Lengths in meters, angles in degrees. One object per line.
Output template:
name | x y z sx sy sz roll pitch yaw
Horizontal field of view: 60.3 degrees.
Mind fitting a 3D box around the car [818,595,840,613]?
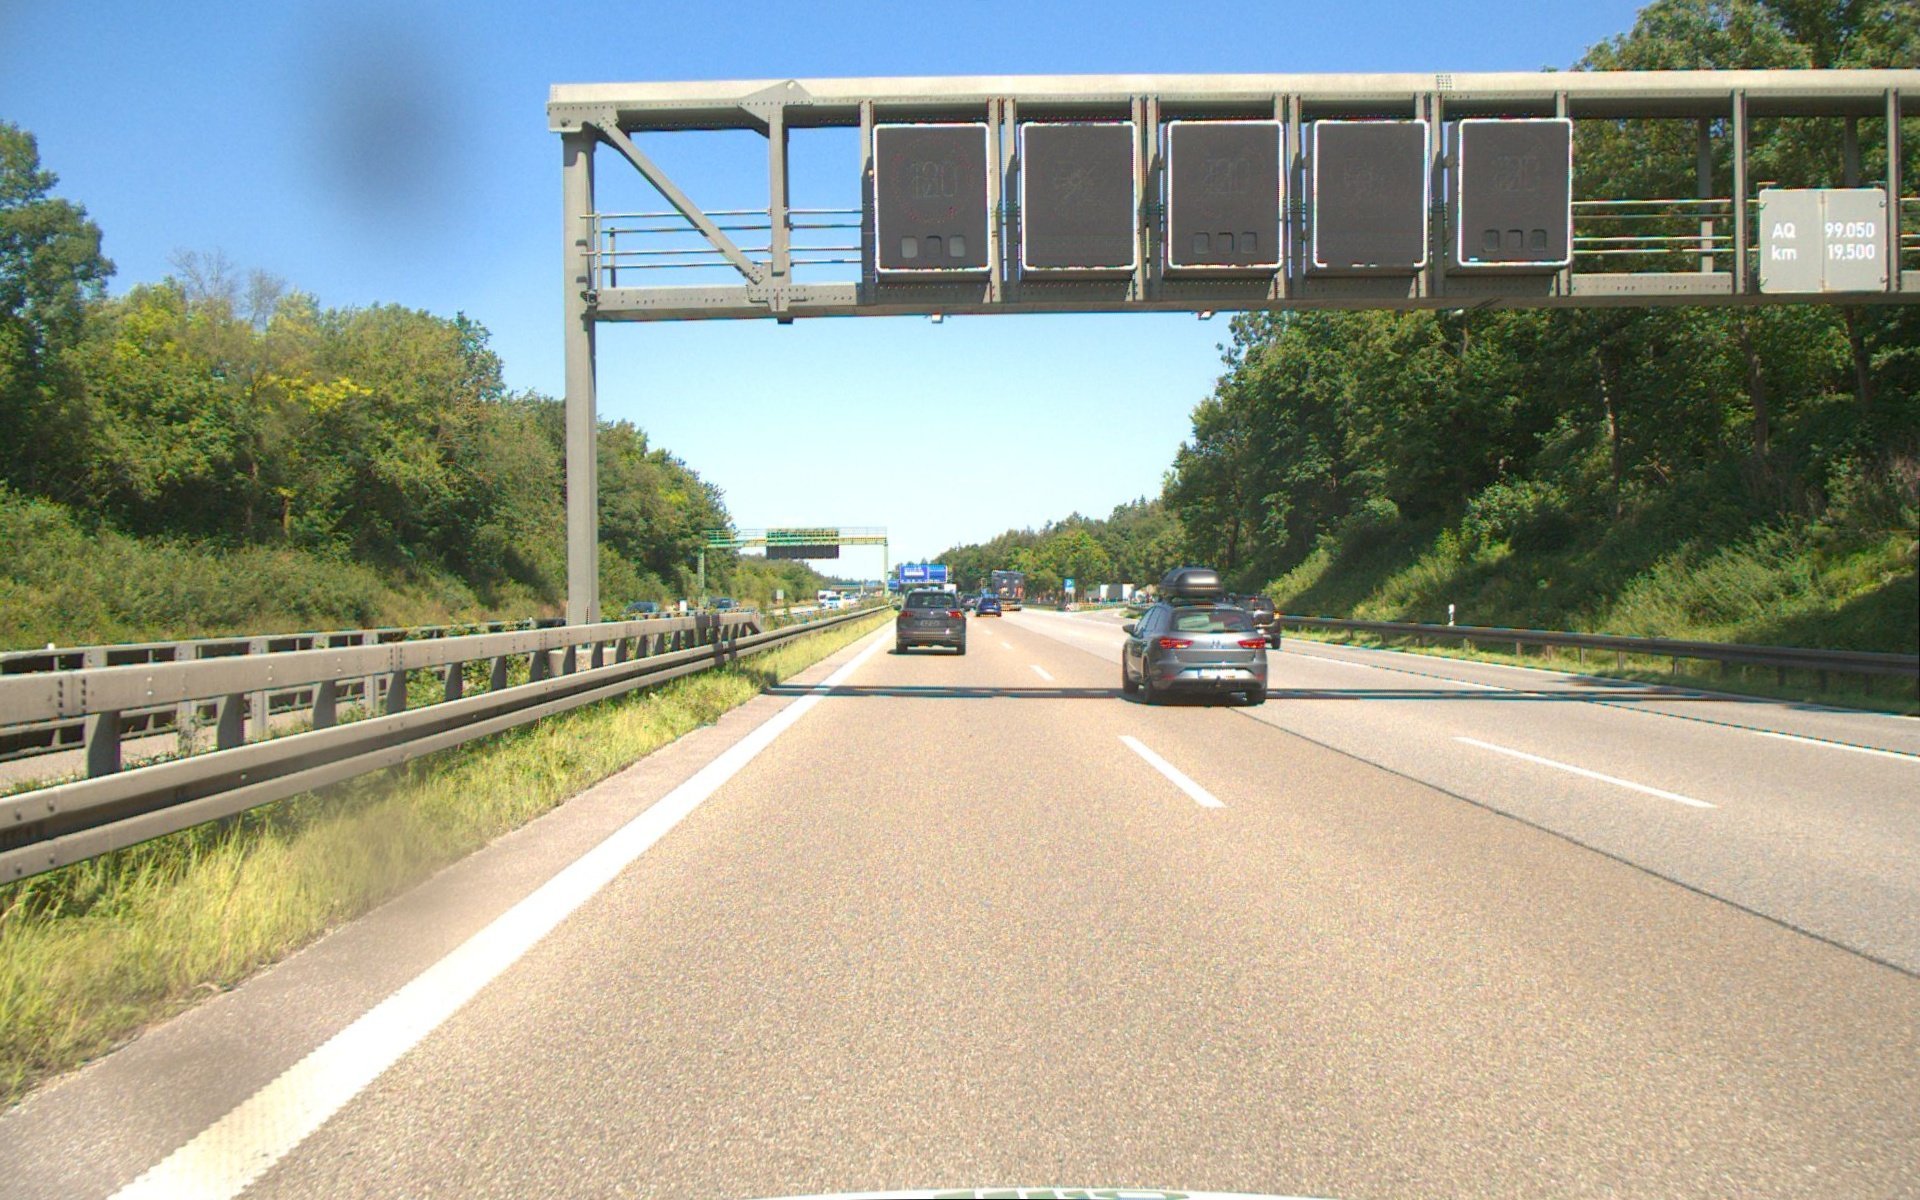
car | -12.633 0.390 159.912 1.775 1.645 3.913 -3 0 0

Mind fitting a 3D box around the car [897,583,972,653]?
car | -0.623 0.427 42.993 1.762 1.698 4.259 1 0 1

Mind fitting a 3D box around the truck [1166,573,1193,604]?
truck | 29.231 -1.543 219.640 3.215 4.016 9.358 -1 0 9

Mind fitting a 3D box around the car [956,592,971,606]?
car | 0.342 -0.095 172.818 1.441 1.422 3.409 2 0 -2

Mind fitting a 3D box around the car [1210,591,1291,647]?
car | 8.724 0.532 49.974 1.728 1.595 4.259 1 0 1

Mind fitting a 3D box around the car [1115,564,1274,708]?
car | 3.391 0.471 24.724 1.631 1.909 4.827 -1 0 0

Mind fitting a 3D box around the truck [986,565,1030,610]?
truck | 4.867 -1.234 170.559 3.704 4.499 14.046 0 0 -2

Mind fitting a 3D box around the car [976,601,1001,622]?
car | 2.045 0.813 118.442 1.728 1.406 4.259 1 0 1
